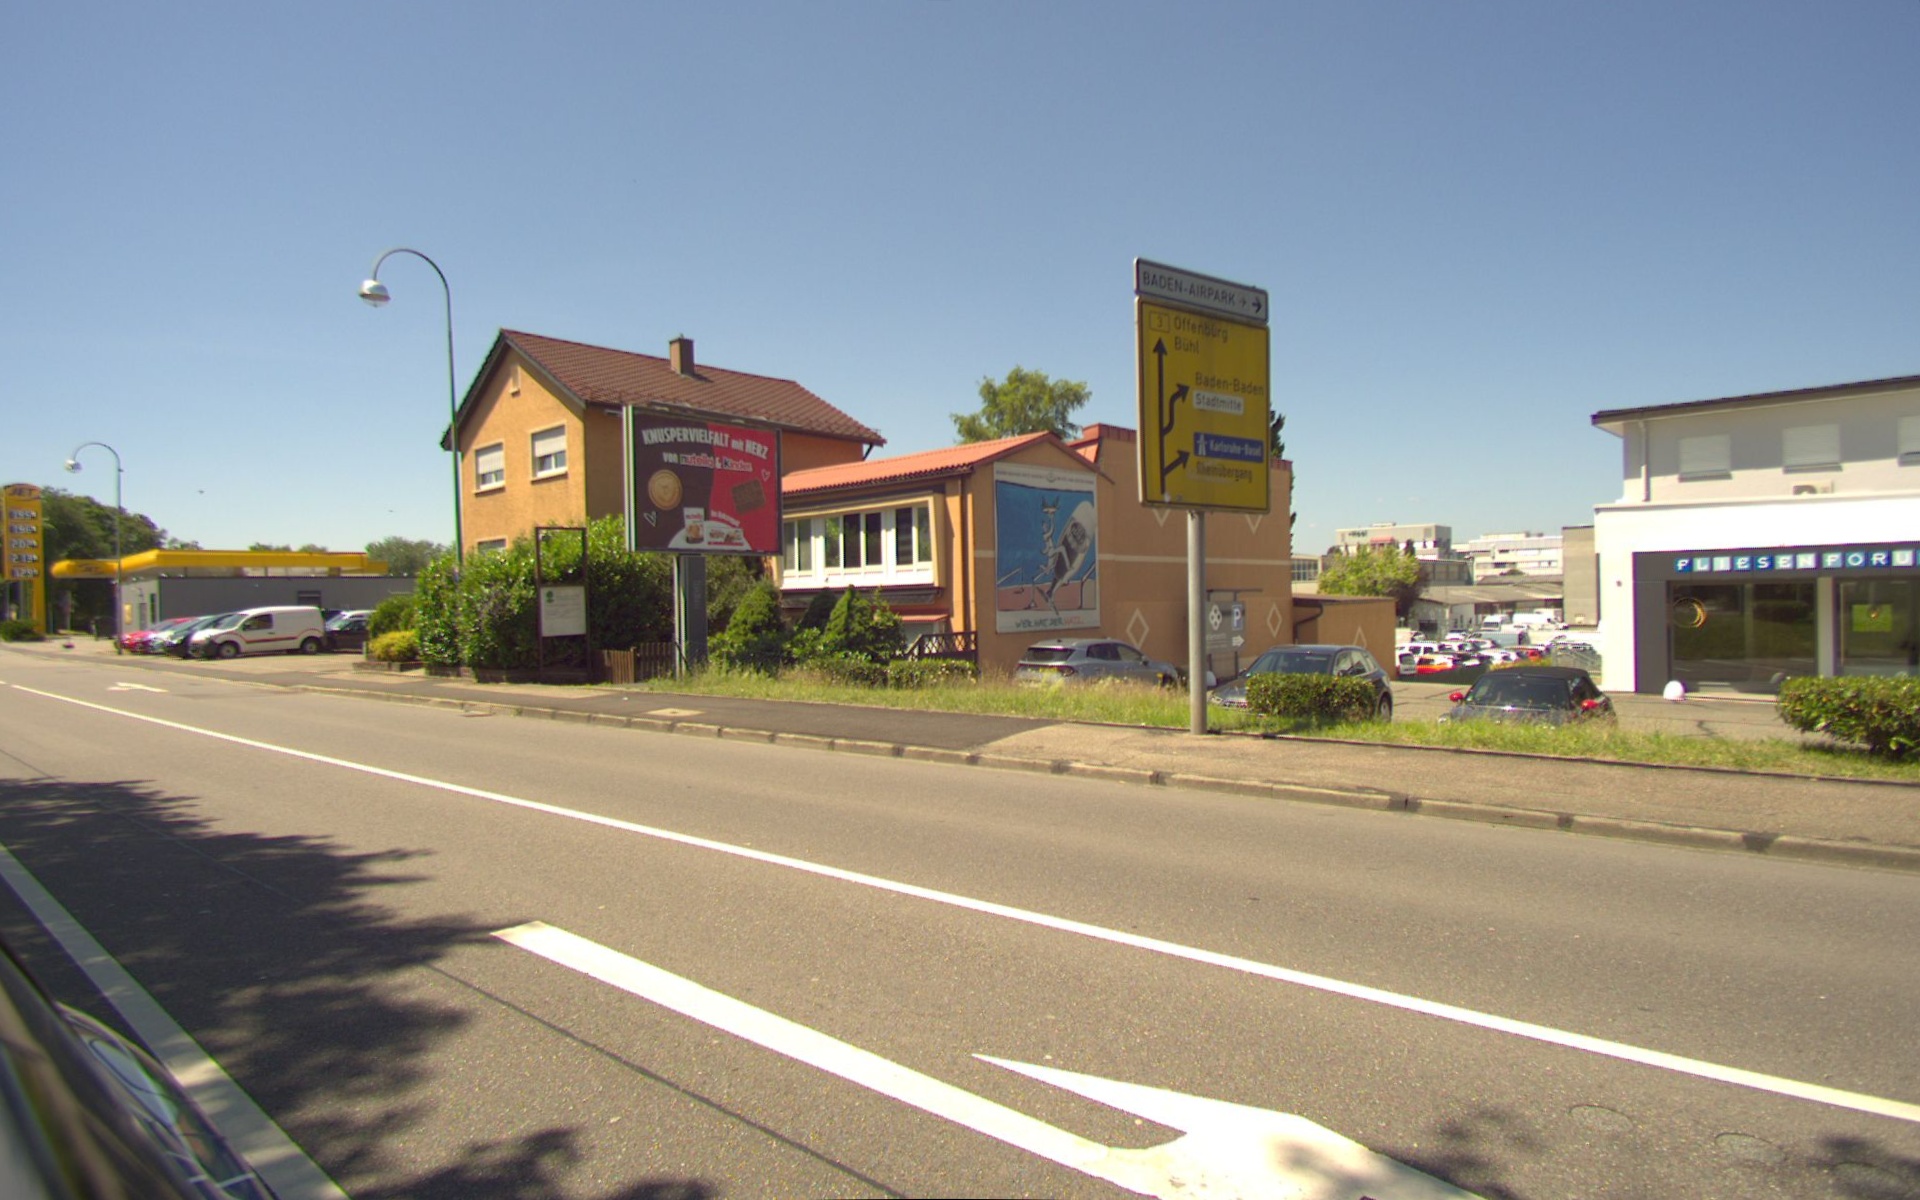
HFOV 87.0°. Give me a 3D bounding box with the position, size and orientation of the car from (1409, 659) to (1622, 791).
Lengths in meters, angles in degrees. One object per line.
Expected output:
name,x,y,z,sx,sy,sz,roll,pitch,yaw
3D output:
car,7.908,1.653,14.303,1.781,1.434,3.300,-2,-1,45

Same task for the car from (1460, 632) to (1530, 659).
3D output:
car,37.963,3.221,71.840,3.998,1.829,1.973,-2,-1,41

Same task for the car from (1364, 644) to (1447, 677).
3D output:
car,25.297,3.410,57.534,3.998,1.665,1.725,-1,0,41

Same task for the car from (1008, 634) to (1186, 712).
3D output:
car,3.074,1.525,22.277,3.979,1.462,1.781,0,-1,-43

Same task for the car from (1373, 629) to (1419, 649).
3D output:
car,35.622,3.189,82.671,3.220,1.488,1.350,-1,0,41

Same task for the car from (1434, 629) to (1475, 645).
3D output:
car,46.215,3.400,94.544,3.125,1.395,1.663,-1,0,41

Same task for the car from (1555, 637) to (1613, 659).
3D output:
car,40.387,3.089,65.539,3.042,1.309,1.288,-1,0,41

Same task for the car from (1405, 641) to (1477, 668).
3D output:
car,32.007,3.600,67.351,3.998,1.617,1.812,-1,-1,41

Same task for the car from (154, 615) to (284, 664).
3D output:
car,-28.018,1.445,38.334,1.920,1.685,3.628,-1,0,38

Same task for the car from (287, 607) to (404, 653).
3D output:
car,-26.394,1.264,43.526,1.998,1.875,3.864,-1,-1,39

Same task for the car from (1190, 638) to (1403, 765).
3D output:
car,5.859,1.604,17.314,1.895,1.699,4.285,-1,0,42

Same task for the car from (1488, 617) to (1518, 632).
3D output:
car,60.446,2.731,112.643,2.000,1.608,3.943,-1,-1,43

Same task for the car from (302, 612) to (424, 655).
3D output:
car,-24.771,1.369,42.066,1.828,1.580,3.948,-2,0,39

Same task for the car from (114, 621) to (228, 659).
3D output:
car,-34.657,1.716,44.497,1.890,1.468,3.628,-1,0,38

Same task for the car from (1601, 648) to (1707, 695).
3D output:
car,31.785,3.260,46.390,3.725,1.954,1.881,-1,-1,-11

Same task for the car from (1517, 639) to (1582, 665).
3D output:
car,36.725,3.218,63.094,3.307,1.476,1.486,-1,0,41

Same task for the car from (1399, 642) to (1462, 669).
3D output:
car,29.550,3.482,63.591,3.320,1.558,1.509,-1,0,41

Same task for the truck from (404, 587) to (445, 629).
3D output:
truck,-42.821,0.628,80.865,3.188,3.267,1.826,-3,-1,41

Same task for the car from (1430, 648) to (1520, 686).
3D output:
car,26.719,3.430,52.553,3.816,1.740,1.729,-1,0,41

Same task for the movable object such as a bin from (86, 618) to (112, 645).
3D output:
movable object such as a bin,-53.110,1.948,62.404,1.427,1.528,0.942,-3,3,42

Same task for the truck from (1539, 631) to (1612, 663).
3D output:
truck,41.483,3.107,68.238,3.982,1.992,1.663,-1,0,41

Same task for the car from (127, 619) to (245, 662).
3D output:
car,-32.760,1.672,42.894,1.879,1.617,3.628,-1,0,38

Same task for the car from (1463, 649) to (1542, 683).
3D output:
car,29.483,3.565,55.032,3.466,1.604,1.702,-1,0,41

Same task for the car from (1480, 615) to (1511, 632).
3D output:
car,62.677,2.743,118.403,3.939,1.843,2.002,-1,0,-43

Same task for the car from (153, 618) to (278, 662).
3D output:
car,-29.476,1.548,40.125,1.920,1.543,3.628,-1,0,38

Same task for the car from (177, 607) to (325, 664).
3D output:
car,-26.096,1.269,37.371,1.996,1.912,4.057,-1,0,36

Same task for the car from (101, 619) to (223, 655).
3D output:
car,-36.439,1.649,46.289,1.825,1.455,4.084,-1,0,40

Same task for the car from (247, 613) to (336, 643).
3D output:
car,-38.405,1.577,58.195,1.754,1.596,3.944,-1,0,42

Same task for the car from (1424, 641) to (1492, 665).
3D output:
car,34.825,3.670,70.840,3.998,1.486,1.733,-1,0,41

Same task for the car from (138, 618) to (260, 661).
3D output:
car,-31.116,1.570,41.445,1.920,1.593,3.628,-1,0,38

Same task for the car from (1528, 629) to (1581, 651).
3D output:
car,43.859,2.949,74.640,3.125,1.545,1.663,-1,0,41

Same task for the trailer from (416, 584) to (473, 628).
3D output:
trailer,-39.937,0.525,78.304,5.911,3.244,1.845,-2,-1,42

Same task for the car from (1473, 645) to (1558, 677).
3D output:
car,31.924,3.498,58.207,3.998,1.648,1.824,-1,-1,41
